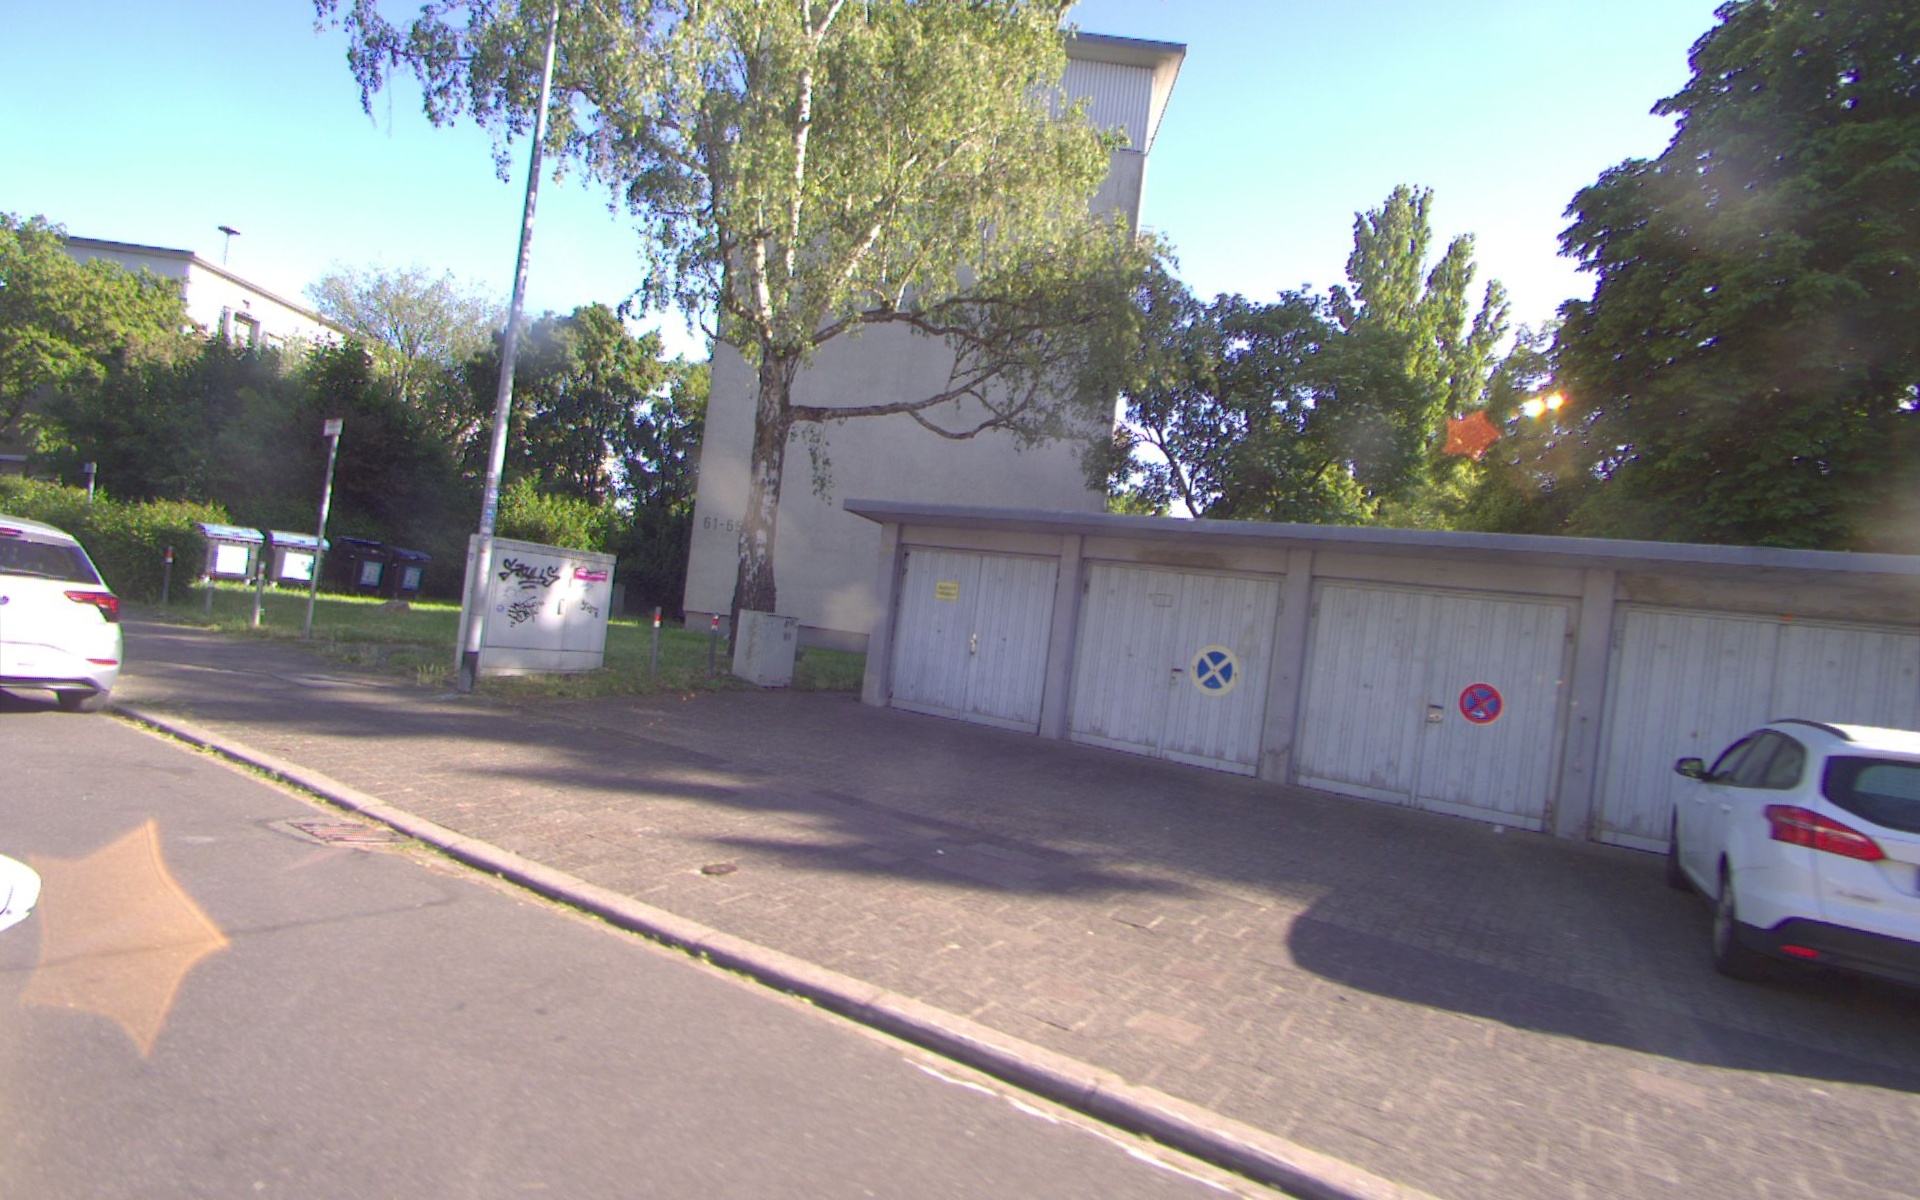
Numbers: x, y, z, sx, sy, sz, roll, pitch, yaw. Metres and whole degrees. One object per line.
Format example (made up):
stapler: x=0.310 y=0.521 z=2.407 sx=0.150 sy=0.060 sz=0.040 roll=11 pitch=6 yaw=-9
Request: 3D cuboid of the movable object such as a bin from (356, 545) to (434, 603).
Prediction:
movable object such as a bin: x=-15.801 y=-0.715 z=28.157 sx=1.255 sy=1.368 sz=1.259 roll=7 pitch=-1 yaw=22

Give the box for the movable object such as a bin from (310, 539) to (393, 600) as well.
movable object such as a bin: x=-16.113 y=-0.810 z=26.667 sx=1.256 sy=1.368 sz=1.259 roll=7 pitch=-1 yaw=24

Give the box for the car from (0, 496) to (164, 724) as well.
car: x=-8.232 y=-0.124 z=7.777 sx=4.034 sy=1.530 sz=1.758 roll=6 pitch=-3 yaw=30

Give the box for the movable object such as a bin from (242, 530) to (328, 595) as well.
movable object such as a bin: x=-16.834 y=-0.933 z=25.107 sx=1.258 sy=1.368 sz=1.257 roll=7 pitch=-1 yaw=31

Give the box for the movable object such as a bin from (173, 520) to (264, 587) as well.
movable object such as a bin: x=-17.696 y=-1.101 z=24.011 sx=1.258 sy=1.368 sz=1.257 roll=7 pitch=-1 yaw=31

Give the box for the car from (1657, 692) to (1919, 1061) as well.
car: x=5.647 y=1.466 z=6.268 sx=1.799 sy=1.532 sz=4.419 roll=6 pitch=-1 yaw=32
